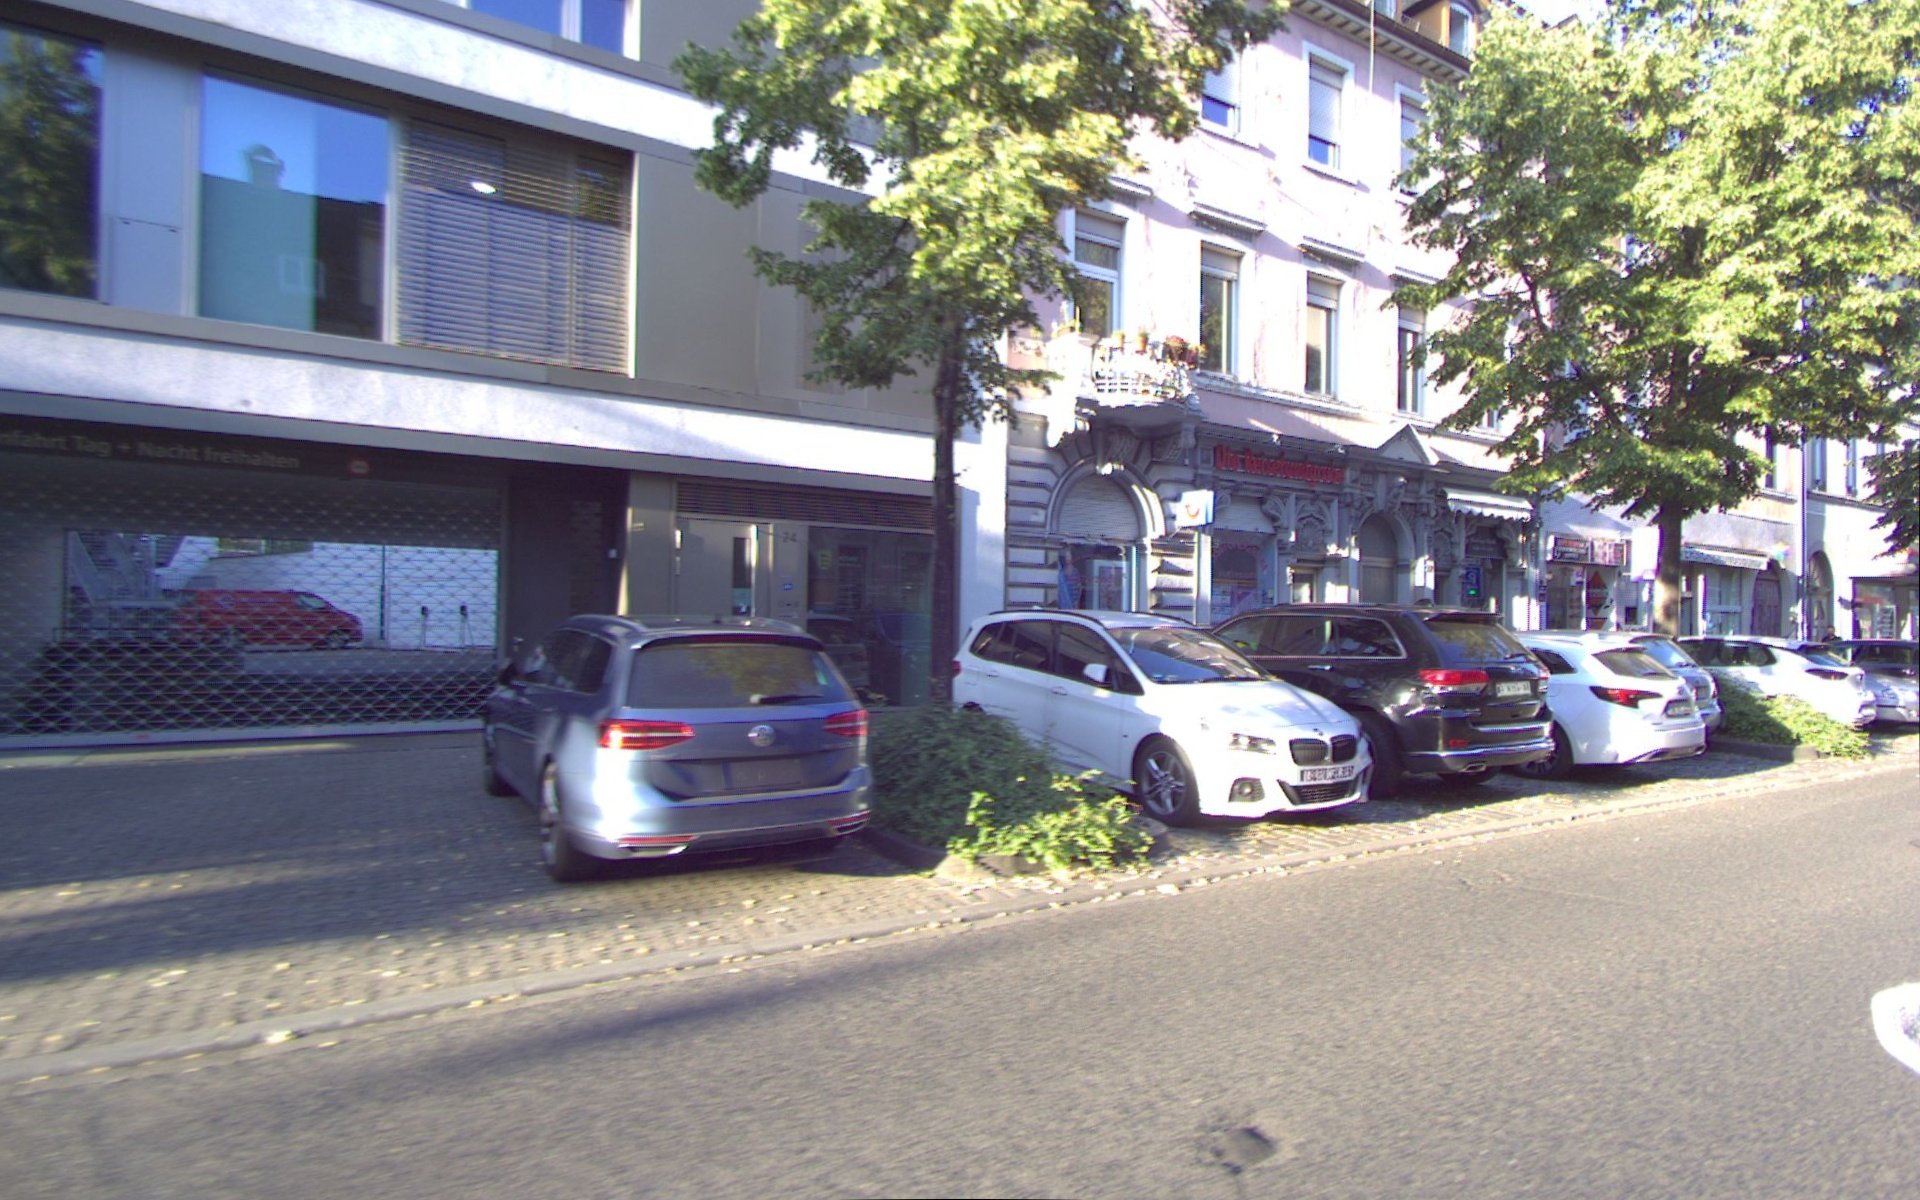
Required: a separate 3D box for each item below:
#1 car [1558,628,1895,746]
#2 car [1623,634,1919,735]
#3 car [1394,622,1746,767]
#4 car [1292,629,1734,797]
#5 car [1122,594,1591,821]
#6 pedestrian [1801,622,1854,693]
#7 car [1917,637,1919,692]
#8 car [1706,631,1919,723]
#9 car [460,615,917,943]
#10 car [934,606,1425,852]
[{"bbox_3d":[11.530,1.221,15.336,1.787,1.463,3.716,2,-1,-33],"label":"car"},{"bbox_3d":[13.896,1.329,17.020,1.821,1.422,4.080,1,-1,-29],"label":"car"},{"bbox_3d":[7.741,1.095,13.060,1.697,1.522,3.537,2,-1,-32],"label":"car"},{"bbox_3d":[6.075,1.121,11.536,1.748,1.440,4.125,2,-1,-32],"label":"car"},{"bbox_3d":[3.749,0.868,10.220,1.869,1.796,4.125,2,-1,-32],"label":"car"},{"bbox_3d":[22.211,1.467,25.725,0.866,1.744,0.768,3,-1,-31],"label":"pedestrian"},{"bbox_3d":[26.563,1.687,24.365,1.801,1.426,4.546,2,-1,-32],"label":"car"},{"bbox_3d":[16.028,1.336,17.844,1.864,1.422,4.083,2,-1,-33],"label":"car"},{"bbox_3d":[-2.221,0.884,7.069,1.726,1.504,4.519,1,-1,-34],"label":"car"},{"bbox_3d":[1.658,0.893,9.135,1.868,1.617,4.383,1,0,-31],"label":"car"}]
